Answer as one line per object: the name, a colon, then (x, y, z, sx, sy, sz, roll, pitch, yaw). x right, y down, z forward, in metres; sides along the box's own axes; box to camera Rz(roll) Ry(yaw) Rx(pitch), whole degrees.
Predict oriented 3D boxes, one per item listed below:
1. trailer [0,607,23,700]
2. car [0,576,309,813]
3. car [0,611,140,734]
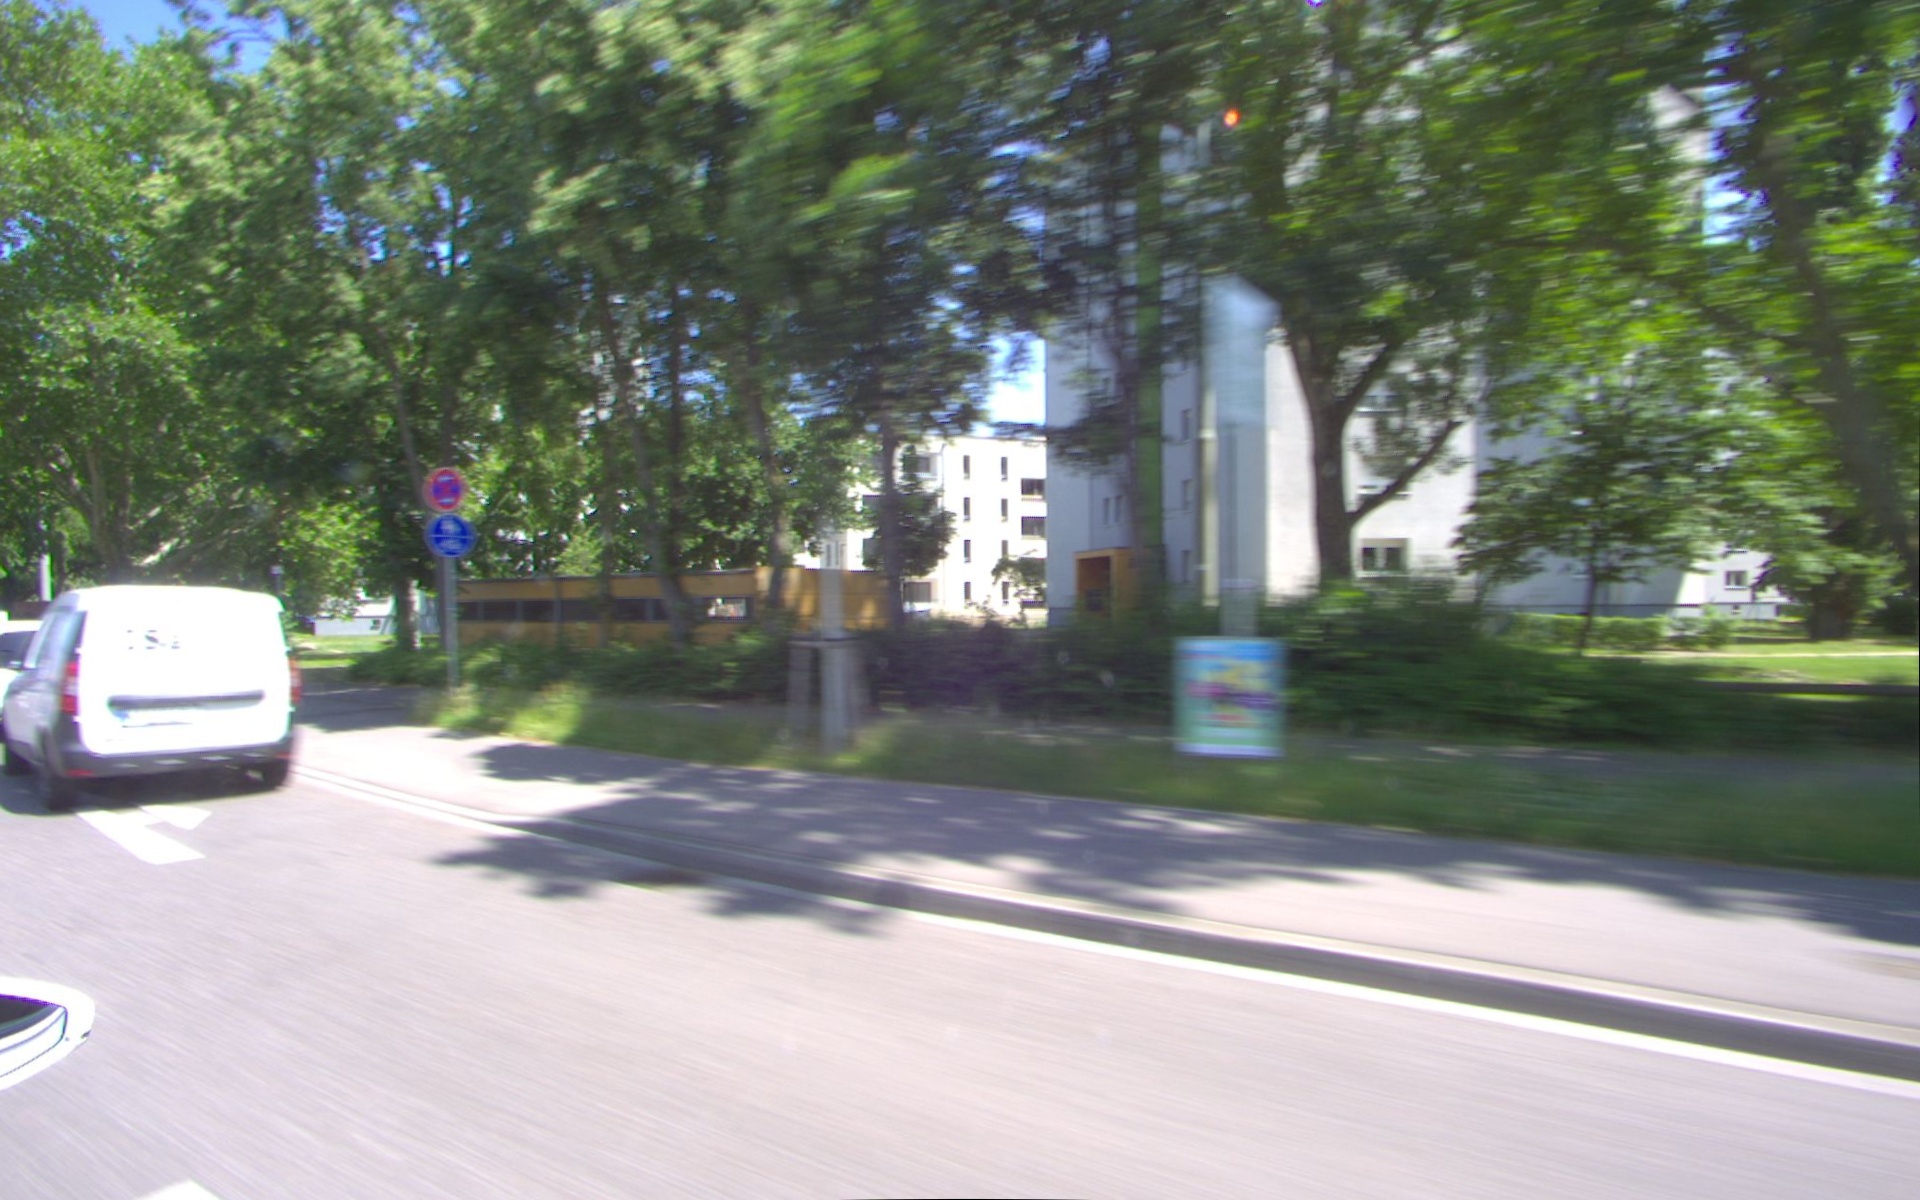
trailer: (-18.719, 0.963, 18.485, 2.816, 1.690, 1.465, 0, -1, 34)
car: (-7.925, 0.756, 9.583, 4.376, 1.770, 1.702, -1, -2, 41)
car: (-12.823, 0.923, 13.866, 3.835, 1.507, 1.712, -1, -2, 42)
